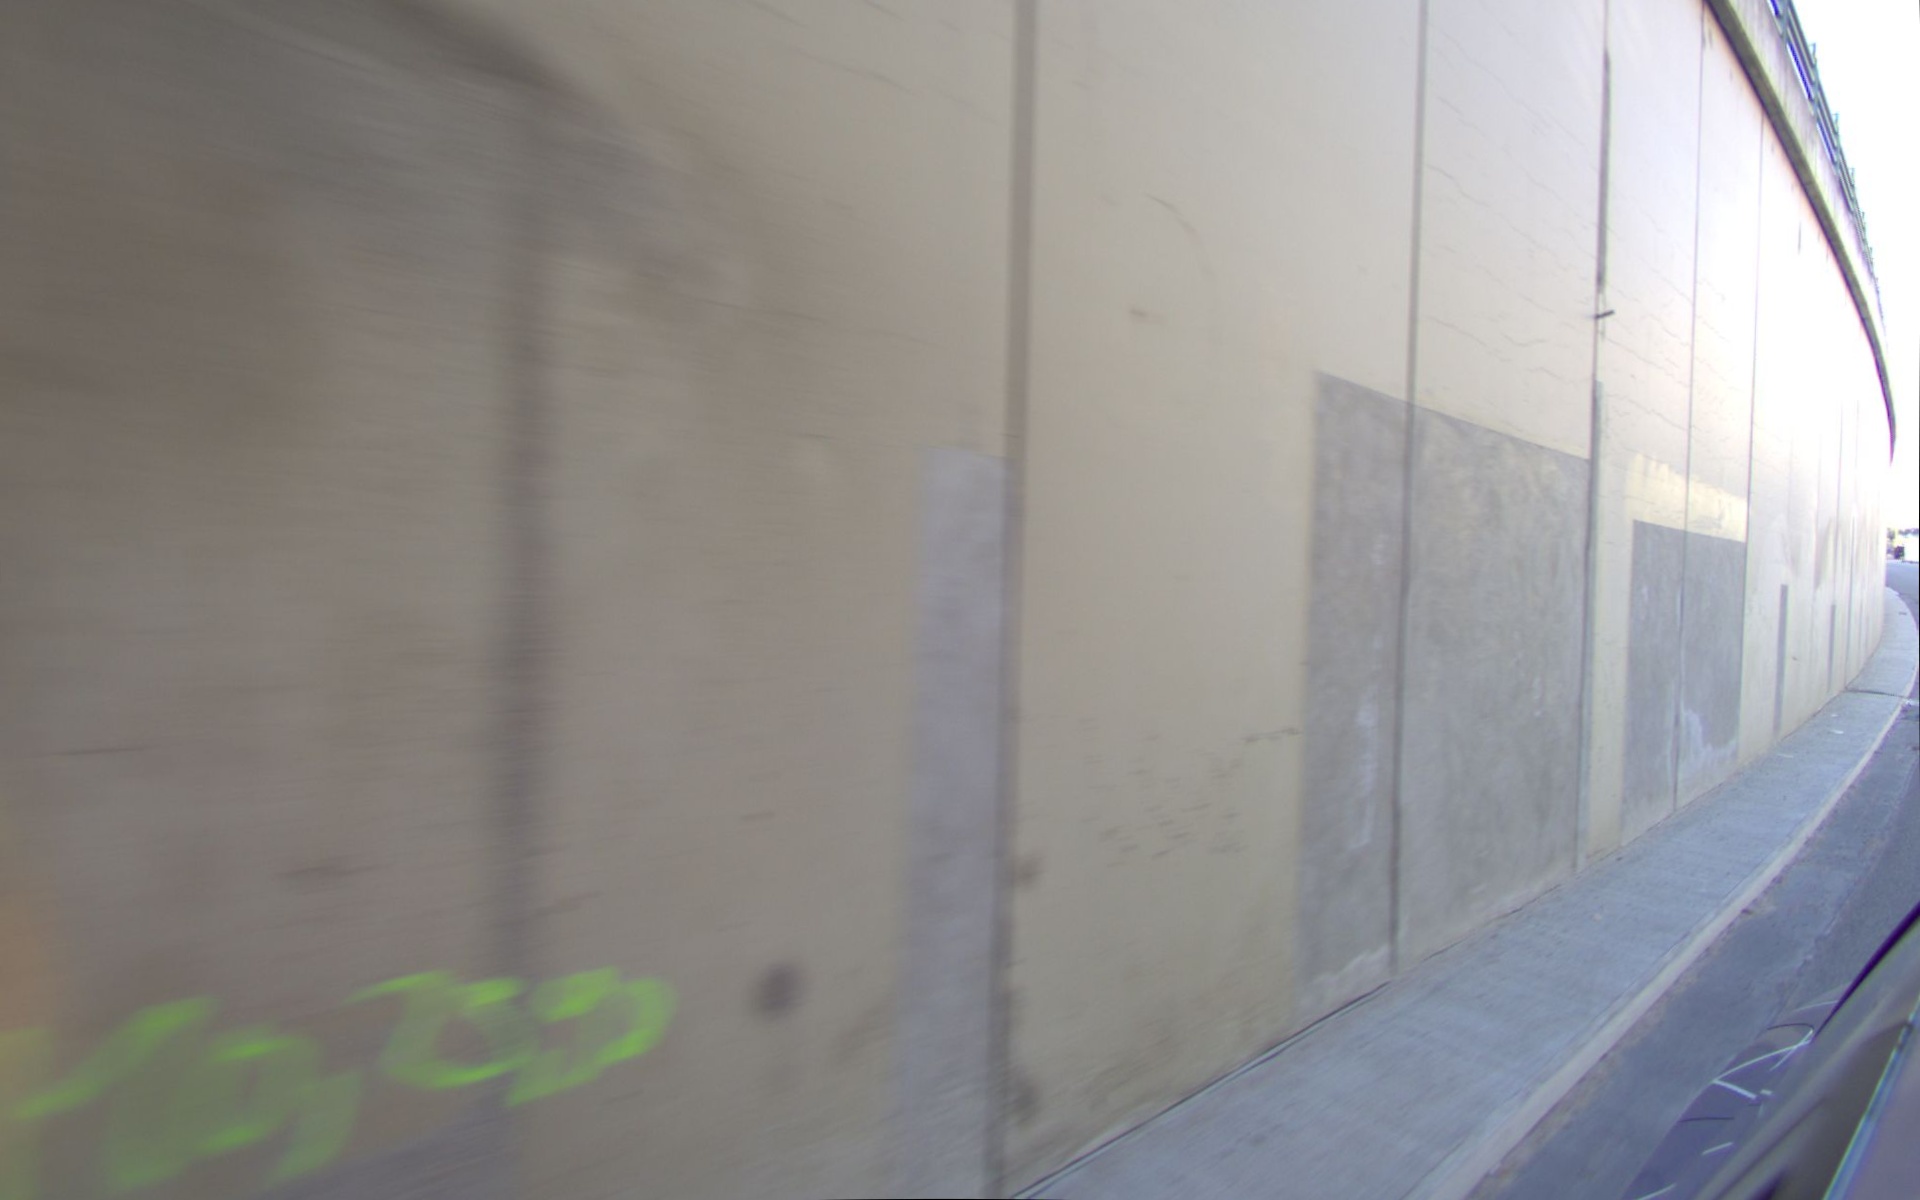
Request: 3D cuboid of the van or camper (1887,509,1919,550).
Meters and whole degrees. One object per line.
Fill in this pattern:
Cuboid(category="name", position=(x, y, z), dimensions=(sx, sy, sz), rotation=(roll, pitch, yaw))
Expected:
Cuboid(category="van or camper", position=(64.279, -4.737, 67.728), dimensions=(2.185, 2.644, 6.747), rotation=(-1, 2, 33))
